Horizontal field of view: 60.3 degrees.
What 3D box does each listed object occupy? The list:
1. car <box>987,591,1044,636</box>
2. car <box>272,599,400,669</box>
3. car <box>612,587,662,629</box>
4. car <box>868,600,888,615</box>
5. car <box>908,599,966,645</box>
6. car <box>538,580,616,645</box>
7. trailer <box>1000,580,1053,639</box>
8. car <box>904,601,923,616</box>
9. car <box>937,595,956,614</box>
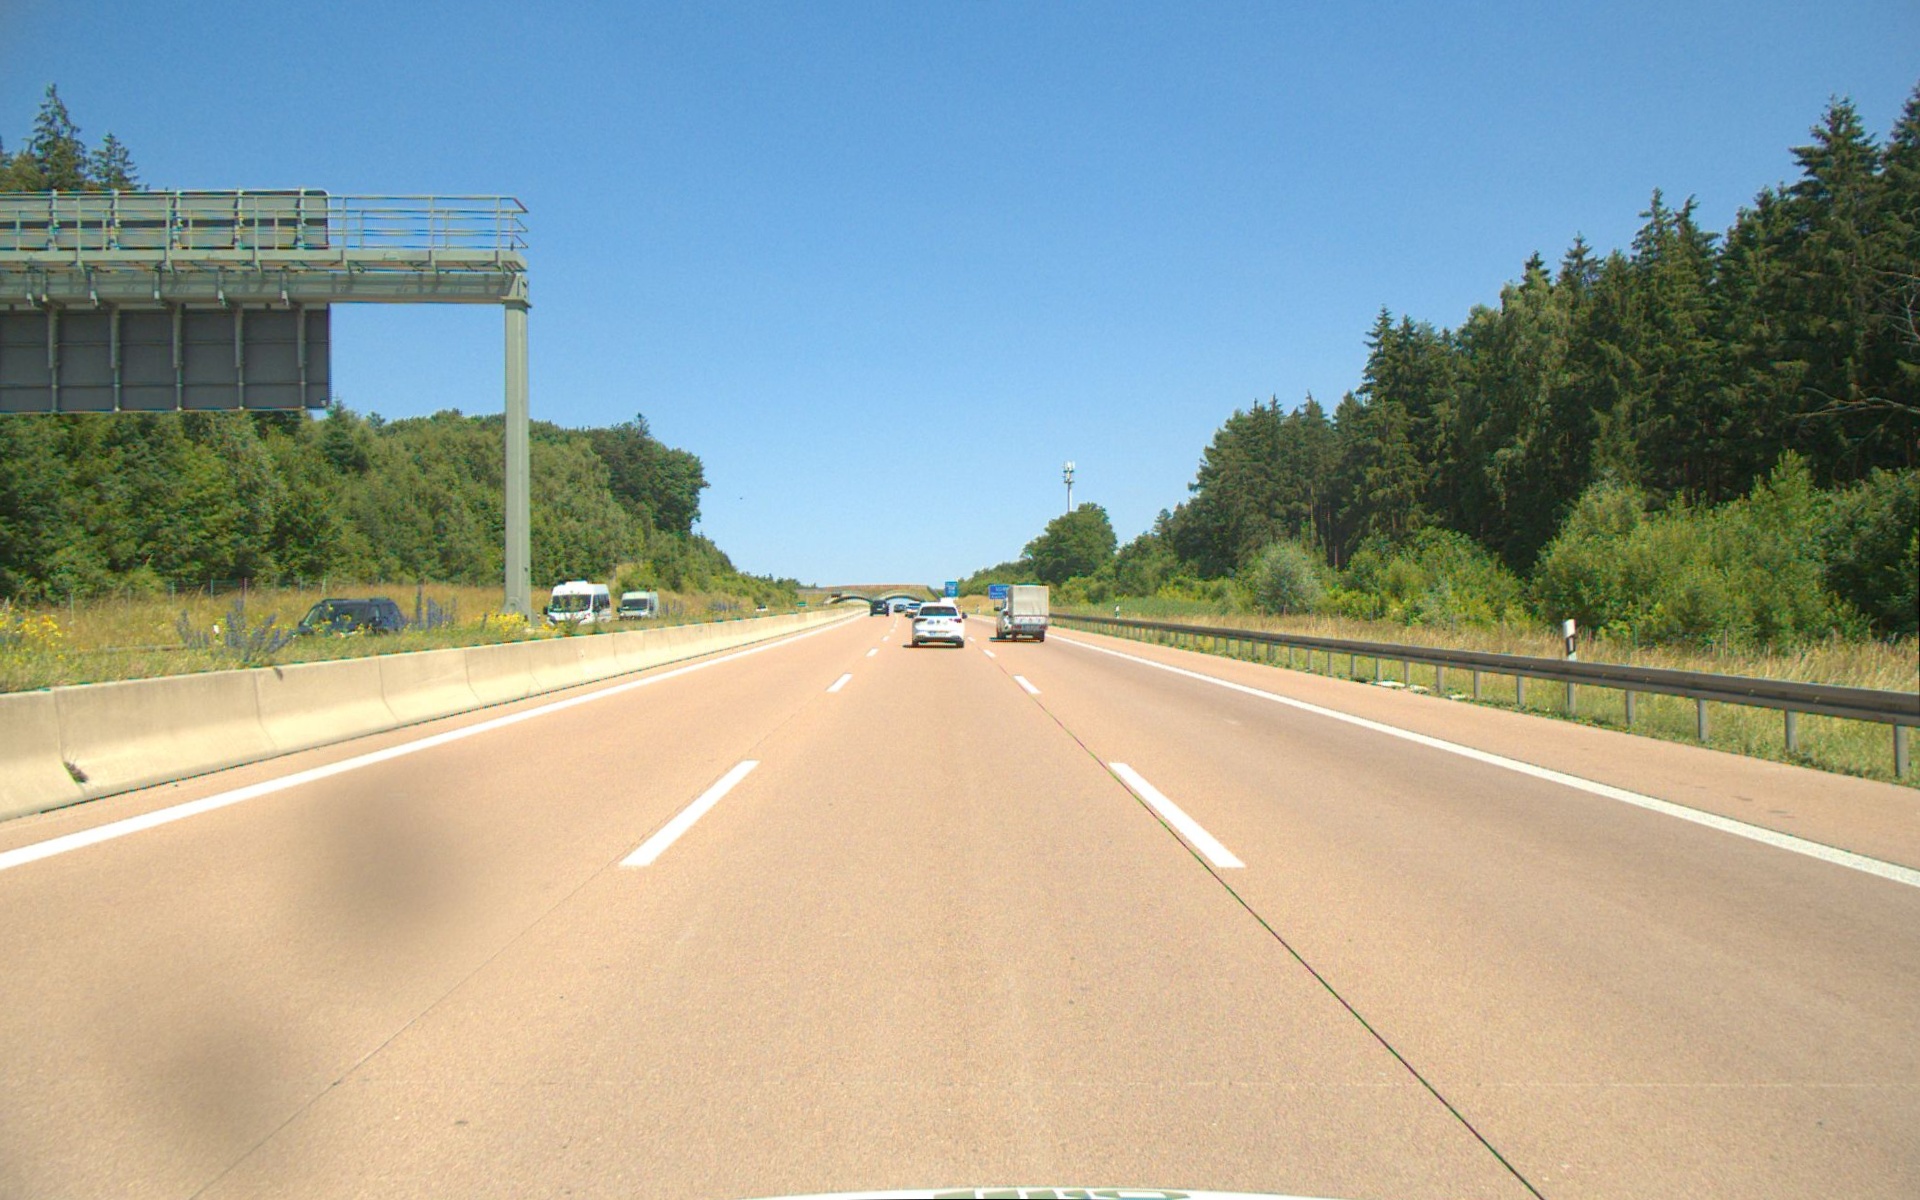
[{"bbox_3d":[2.241,0.552,67.851,1.853,1.758,5.182,0,0,-4],"label":"car"},{"bbox_3d":[-15.800,0.815,42.108,1.853,1.684,3.998,0,0,-2],"label":"car"},{"bbox_3d":[-21.504,0.508,110.373,2.188,2.733,6.884,0,0,-2],"label":"car"},{"bbox_3d":[-8.198,0.711,165.230,1.852,1.489,4.000,0,0,0],"label":"car"},{"bbox_3d":[-0.740,0.709,54.685,1.852,1.422,4.000,1,0,0],"label":"car"},{"bbox_3d":[-16.730,0.517,72.645,2.188,2.733,6.095,0,0,-2],"label":"car"},{"bbox_3d":[2.525,0.363,63.306,1.624,2.202,4.013,0,0,-4],"label":"trailer"},{"bbox_3d":[-4.610,0.809,163.288,1.853,1.489,3.998,1,0,-2],"label":"car"},{"bbox_3d":[-1.452,0.478,180.252,2.067,2.090,4.000,0,0,0],"label":"car"}]
